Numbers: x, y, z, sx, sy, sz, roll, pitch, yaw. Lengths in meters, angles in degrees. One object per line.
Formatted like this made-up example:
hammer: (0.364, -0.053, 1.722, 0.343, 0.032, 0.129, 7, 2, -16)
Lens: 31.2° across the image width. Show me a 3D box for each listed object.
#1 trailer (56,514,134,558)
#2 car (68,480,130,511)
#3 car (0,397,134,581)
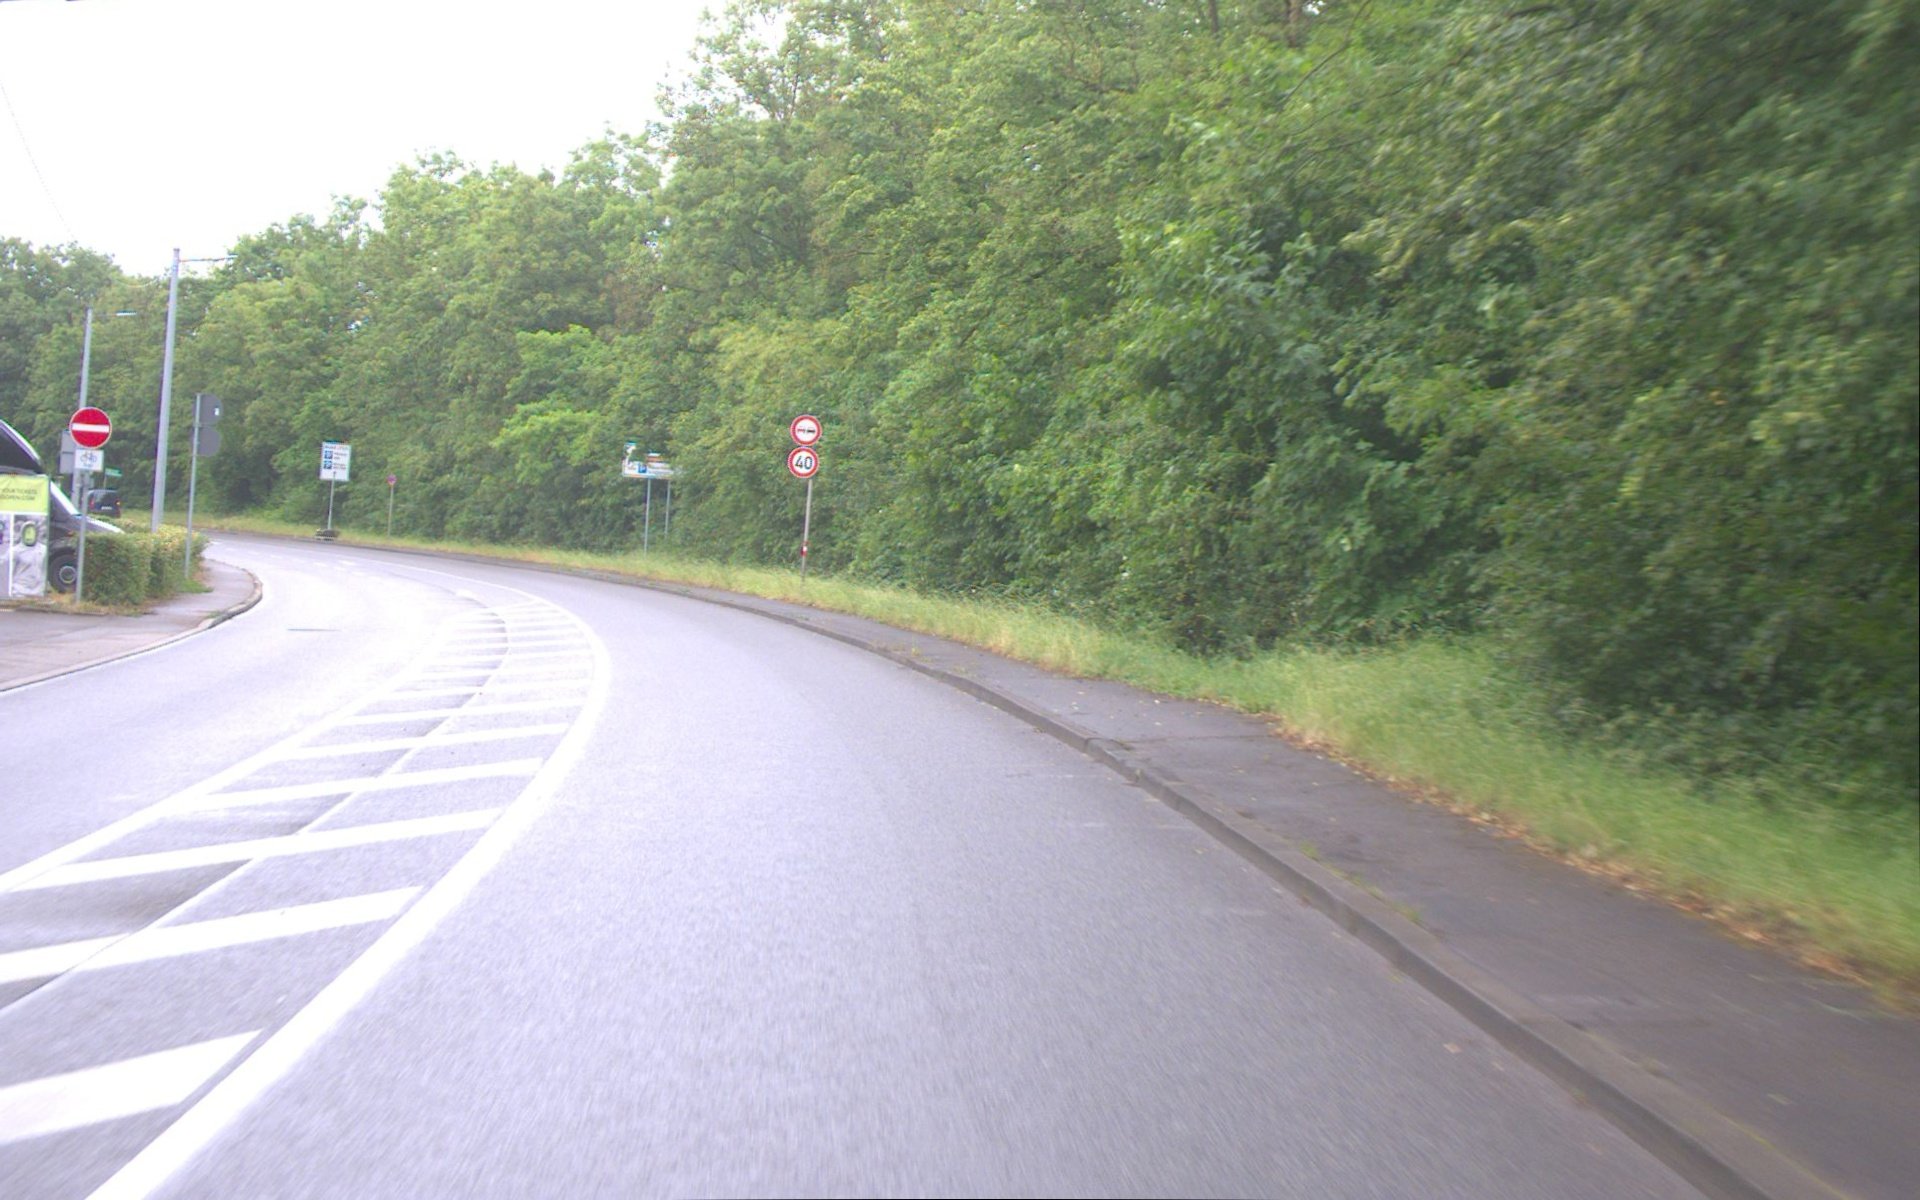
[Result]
trailer: (-21.756, -1.616, 86.457, 1.800, 1.031, 1.334, 2, 1, -17)
car: (-45.216, -5.504, 180.518, 1.935, 1.493, 4.318, 1, 2, -31)
car: (-17.840, -2.000, 60.601, 6.270, 3.102, 2.753, 2, 0, -13)
